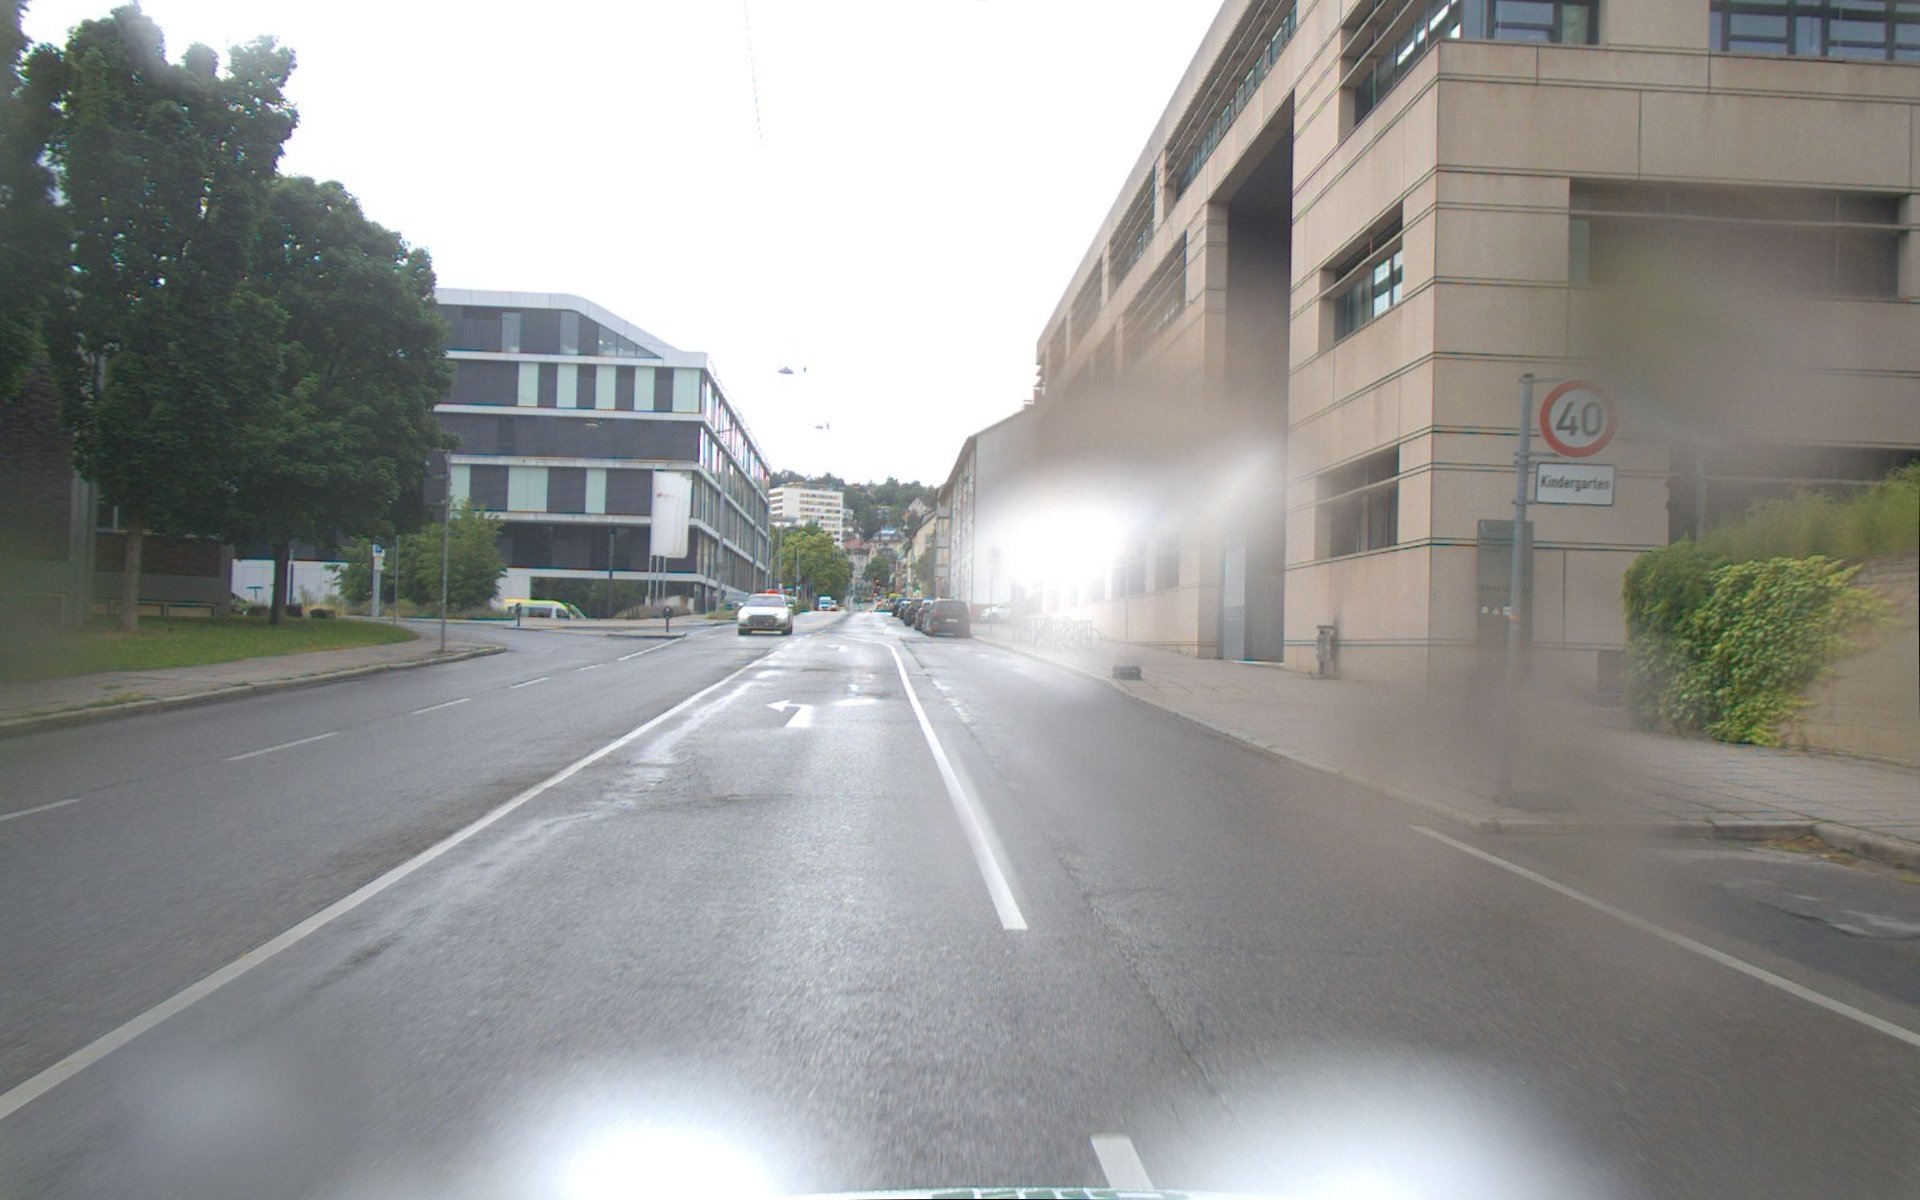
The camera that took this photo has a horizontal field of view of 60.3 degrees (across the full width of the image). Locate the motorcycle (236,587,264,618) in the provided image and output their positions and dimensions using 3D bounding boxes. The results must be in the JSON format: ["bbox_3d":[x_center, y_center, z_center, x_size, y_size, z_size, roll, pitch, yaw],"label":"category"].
[{"bbox_3d":[-27.418,0.094,63.853,1.146,1.145,0.411,0,-3,35],"label":"motorcycle"}]

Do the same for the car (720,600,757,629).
[{"bbox_3d":[-13.394,0.891,100.105,1.813,1.646,4.487,3,-1,-3],"label":"car"}]

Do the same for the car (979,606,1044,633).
[{"bbox_3d":[3.550,1.366,114.557,4.350,1.743,1.903,-1,-1,-4],"label":"car"}]

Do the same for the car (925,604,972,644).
[{"bbox_3d":[-0.537,1.072,72.993,1.736,1.632,4.390,3,-1,-5],"label":"car"}]

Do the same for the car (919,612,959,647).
[{"bbox_3d":[-1.054,1.467,81.117,1.691,1.538,4.054,4,-2,-4],"label":"car"}]

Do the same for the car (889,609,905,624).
[{"bbox_3d":[-8.102,2.148,211.908,1.829,1.801,4.188,3,-1,0],"label":"car"}]

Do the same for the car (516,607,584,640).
[{"bbox_3d":[-28.647,1.637,115.564,4.256,2.068,1.597,3,-1,-4],"label":"car"}]

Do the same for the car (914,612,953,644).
[{"bbox_3d":[-1.433,1.497,88.415,1.709,1.560,4.315,3,-1,-5],"label":"car"}]

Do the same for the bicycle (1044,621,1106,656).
[{"bbox_3d":[3.426,1.139,49.255,1.725,0.970,0.659,2,-1,-7],"label":"bicycle"}]

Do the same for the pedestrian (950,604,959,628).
[{"bbox_3d":[-0.419,1.296,133.904,0.626,1.903,0.538,3,-1,-2],"label":"pedestrian"}]

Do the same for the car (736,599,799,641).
[{"bbox_3d":[-7.238,0.739,62.697,1.843,1.517,5.218,0,0,-1],"label":"car"}]

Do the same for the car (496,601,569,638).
[{"bbox_3d":[-28.802,1.326,111.477,4.506,2.212,1.927,3,-1,-9],"label":"car"}]

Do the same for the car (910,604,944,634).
[{"bbox_3d":[-2.122,1.201,105.389,1.897,1.781,4.793,3,-1,-3],"label":"car"}]

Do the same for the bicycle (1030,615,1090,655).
[{"bbox_3d":[3.028,1.056,50.213,1.697,1.138,0.658,2,-1,-9],"label":"bicycle"}]

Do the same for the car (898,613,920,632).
[{"bbox_3d":[-4.345,1.895,139.759,1.672,1.480,3.981,3,-1,-3],"label":"car"}]
